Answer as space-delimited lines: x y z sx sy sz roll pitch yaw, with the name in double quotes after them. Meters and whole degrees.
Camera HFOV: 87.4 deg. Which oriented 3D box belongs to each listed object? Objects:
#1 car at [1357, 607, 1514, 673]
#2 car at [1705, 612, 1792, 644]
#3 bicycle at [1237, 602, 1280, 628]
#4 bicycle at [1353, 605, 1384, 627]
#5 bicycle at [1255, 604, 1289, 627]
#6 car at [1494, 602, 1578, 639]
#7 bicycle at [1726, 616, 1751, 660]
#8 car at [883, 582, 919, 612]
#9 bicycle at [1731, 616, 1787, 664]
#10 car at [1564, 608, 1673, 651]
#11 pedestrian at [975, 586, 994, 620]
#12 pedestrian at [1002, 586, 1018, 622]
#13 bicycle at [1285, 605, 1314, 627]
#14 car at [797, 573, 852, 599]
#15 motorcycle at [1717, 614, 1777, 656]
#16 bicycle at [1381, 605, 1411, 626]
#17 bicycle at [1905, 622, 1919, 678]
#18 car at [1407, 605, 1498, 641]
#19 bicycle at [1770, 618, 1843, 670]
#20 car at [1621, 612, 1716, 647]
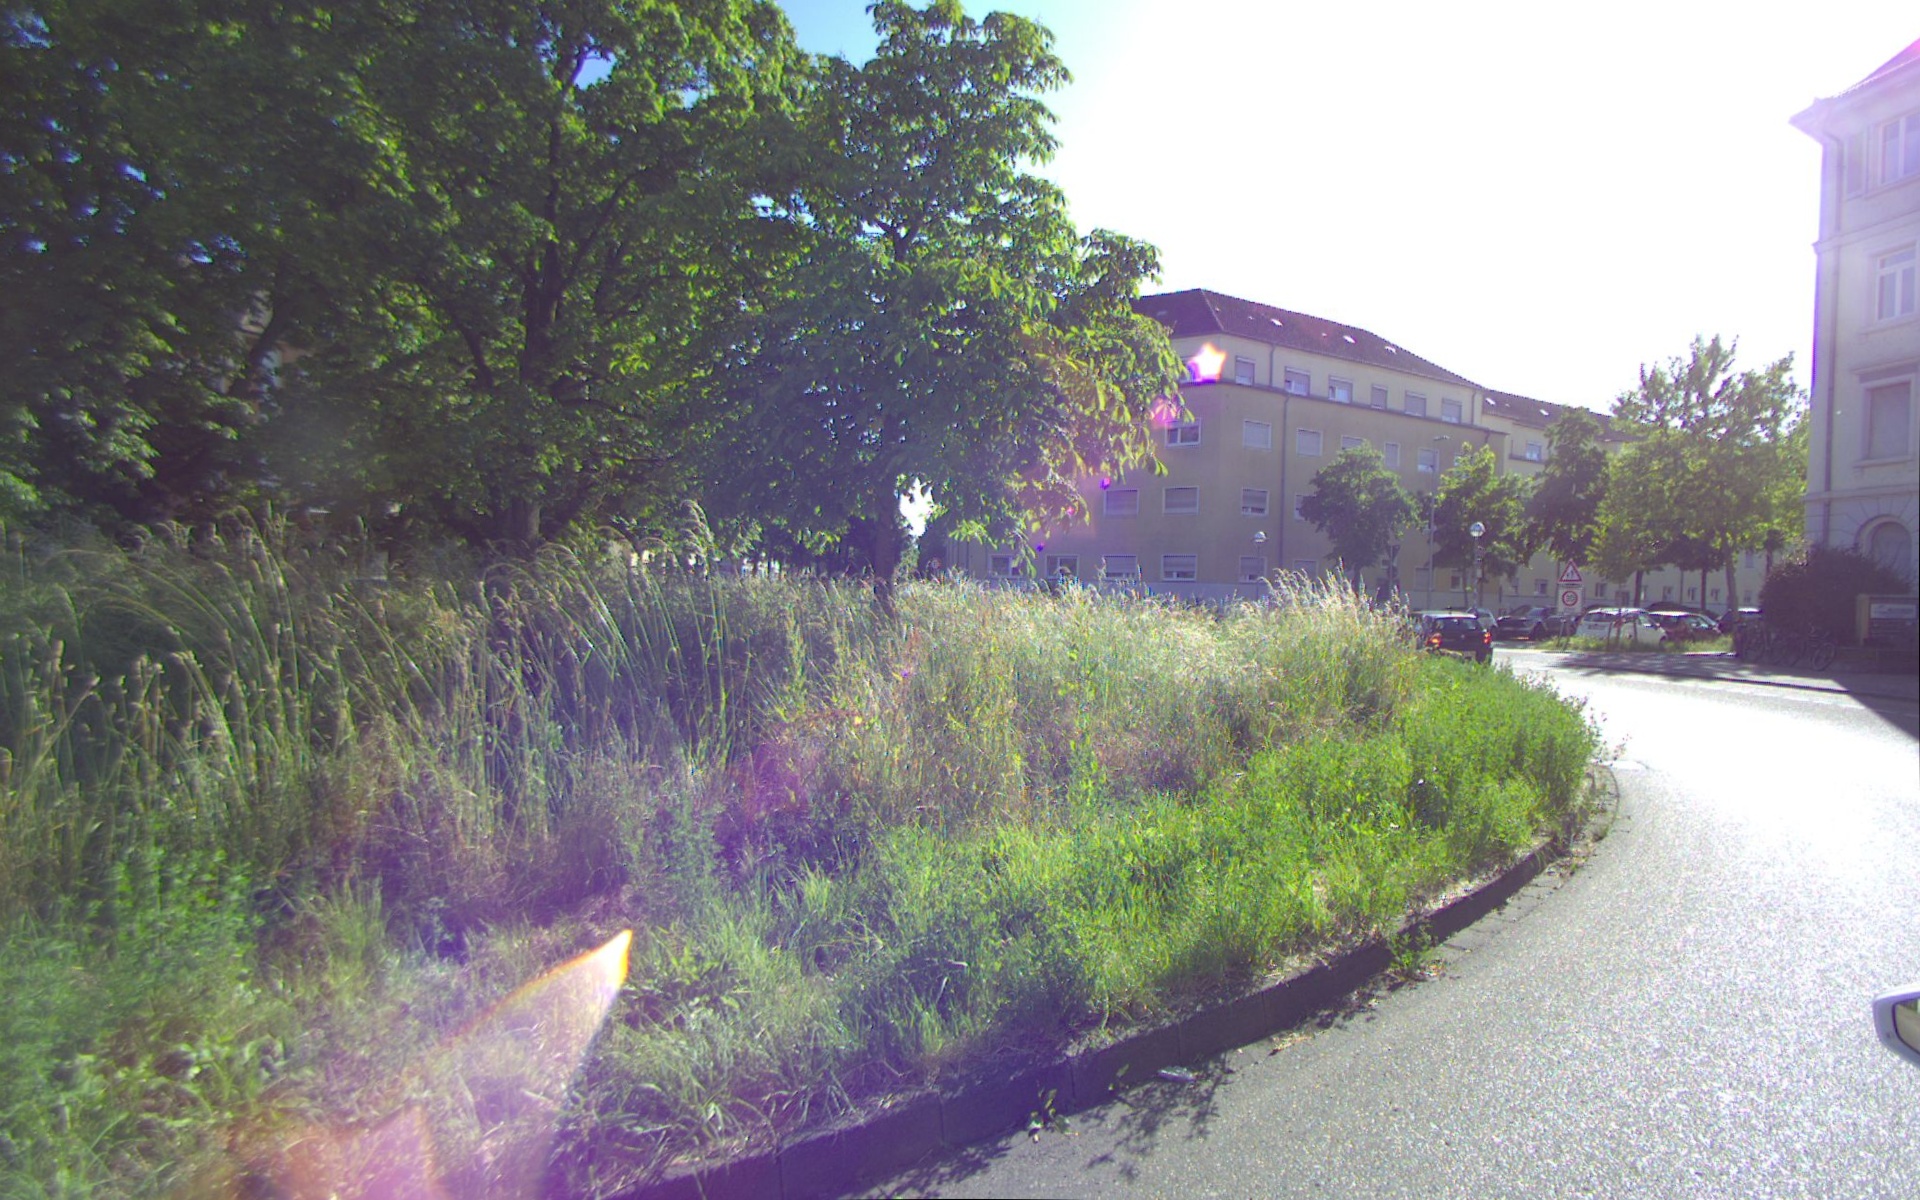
11.462 0.912 24.553 1.834 1.438 3.999 0 0 -2 "car"
33.396 1.162 42.531 3.679 1.272 1.784 1 0 -33 "car"
13.554 0.677 45.608 1.764 1.122 0.500 1 1 0 "bicycle"
20.265 0.782 49.852 1.427 1.040 0.498 1 1 -20 "bicycle"
14.425 0.720 46.472 1.421 1.040 0.500 1 1 0 "bicycle"
26.235 0.932 45.745 3.960 1.597 1.783 2 0 -35 "car"
21.209 1.025 27.374 0.492 1.122 1.942 1 1 38 "bicycle"
-3.003 -0.136 51.870 1.699 1.430 4.488 1 0 -2 "car"
20.151 0.983 25.378 0.490 1.122 1.800 1 1 18 "bicycle"
23.829 1.059 36.314 3.955 1.432 1.785 1 0 -32 "car"
1.111 0.122 46.189 0.810 1.544 0.697 -1 1 -5 "pedestrian"
2.205 0.172 44.454 0.637 1.544 0.697 0 1 -2 "pedestrian"
16.009 0.748 47.335 1.434 1.040 0.495 1 1 -33 "bicycle"
-11.258 -1.151 83.338 4.128 2.014 2.167 1 0 33 "car"
23.142 1.026 29.527 1.472 1.207 0.882 0 -1 -30 "motorcycle"
22.206 0.796 51.131 1.427 1.040 0.498 1 1 -20 "bicycle"
20.241 1.029 20.367 1.649 1.122 0.500 0 0 1 "bicycle"
20.995 0.968 42.741 3.960 1.430 1.786 1 0 -35 "car"
19.768 0.997 23.490 0.490 1.122 1.801 1 1 12 "bicycle"
27.528 1.149 38.991 3.679 1.272 1.784 1 0 -33 "car"
